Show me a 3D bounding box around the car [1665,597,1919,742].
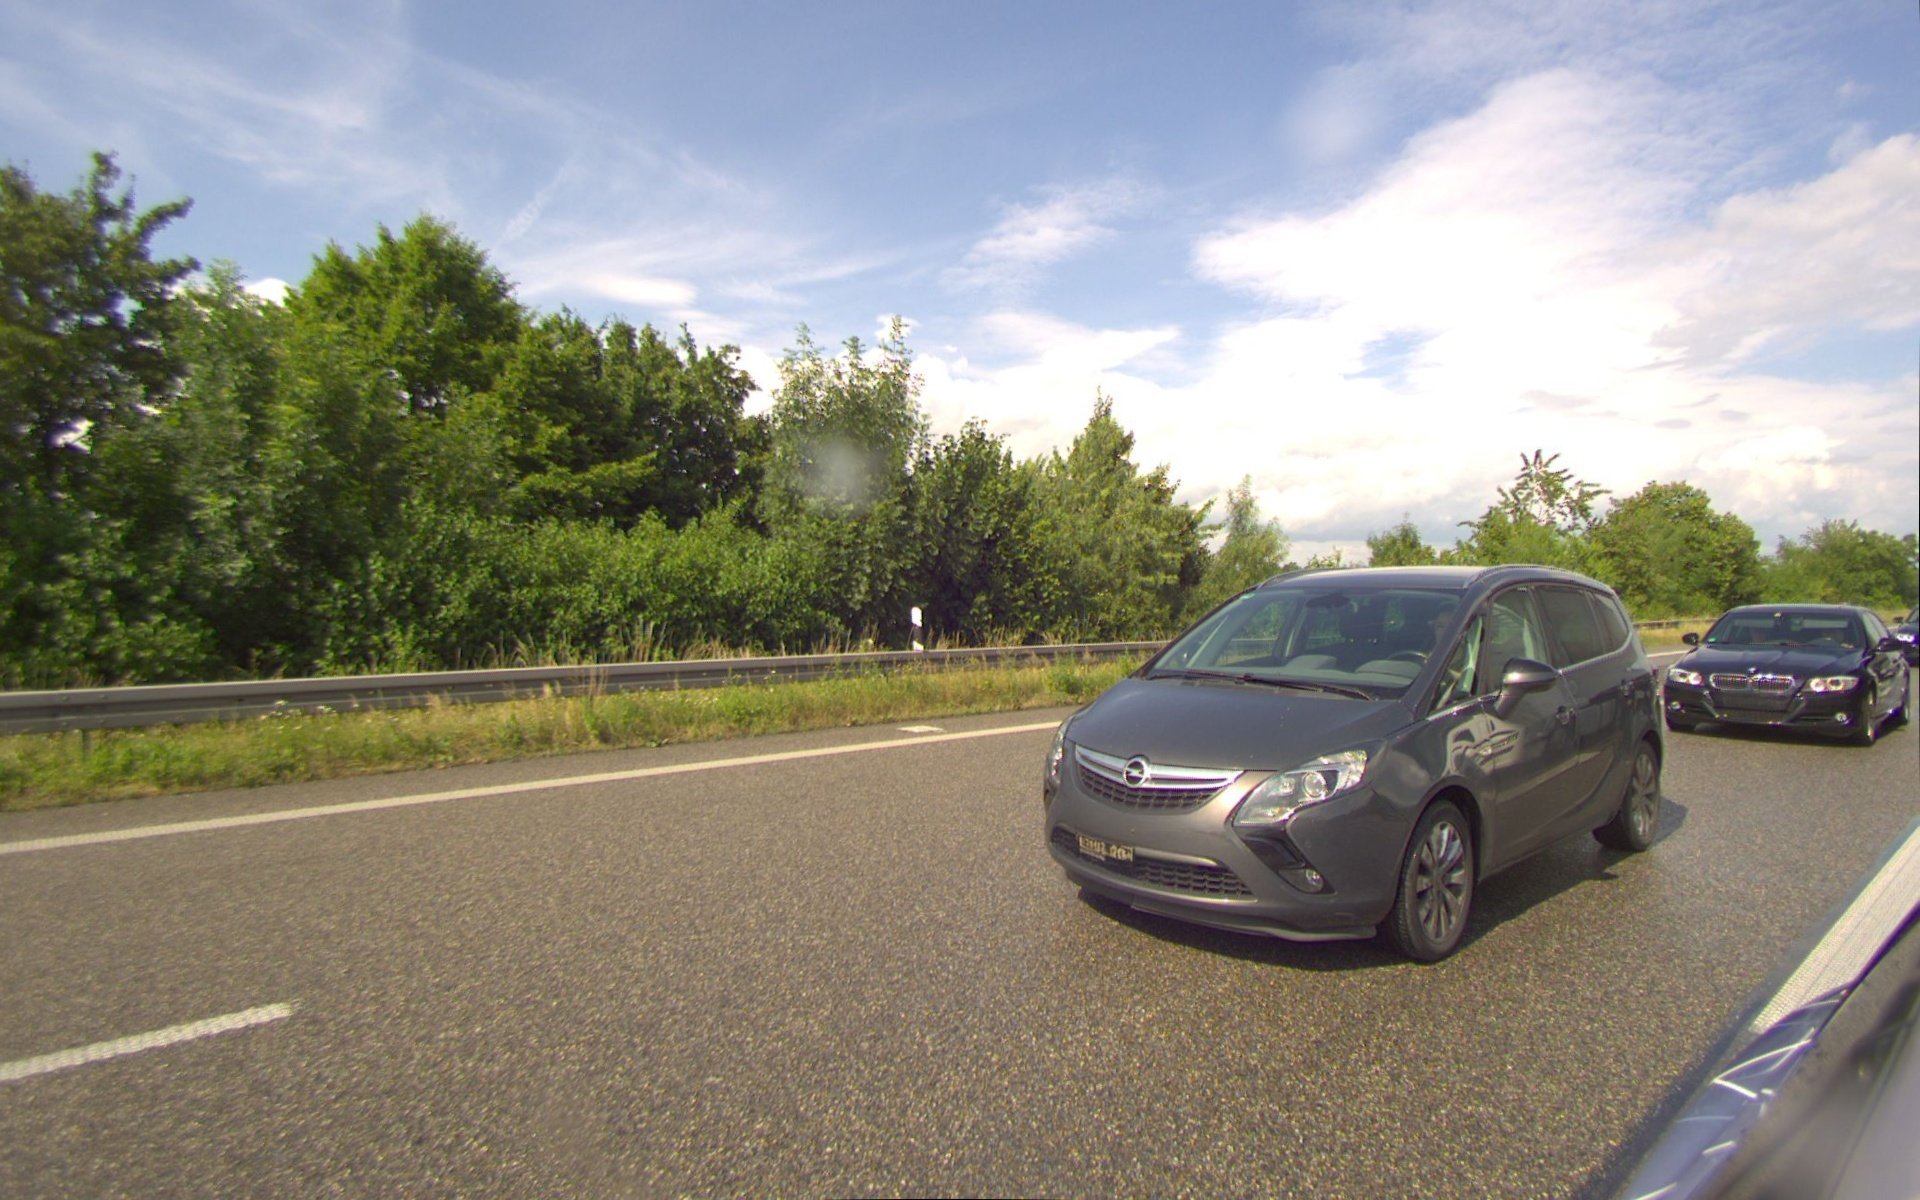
[{"bbox_3d":[9.600,0.658,11.510,3.816,1.371,1.721,0,0,-41],"label":"car"}]

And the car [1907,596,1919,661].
[{"bbox_3d":[22.579,0.623,22.763,3.935,1.382,1.740,0,1,-45],"label":"car"}]

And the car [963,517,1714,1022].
[{"bbox_3d":[2.373,0.537,5.548,4.652,1.652,1.857,0,0,-41],"label":"car"}]
